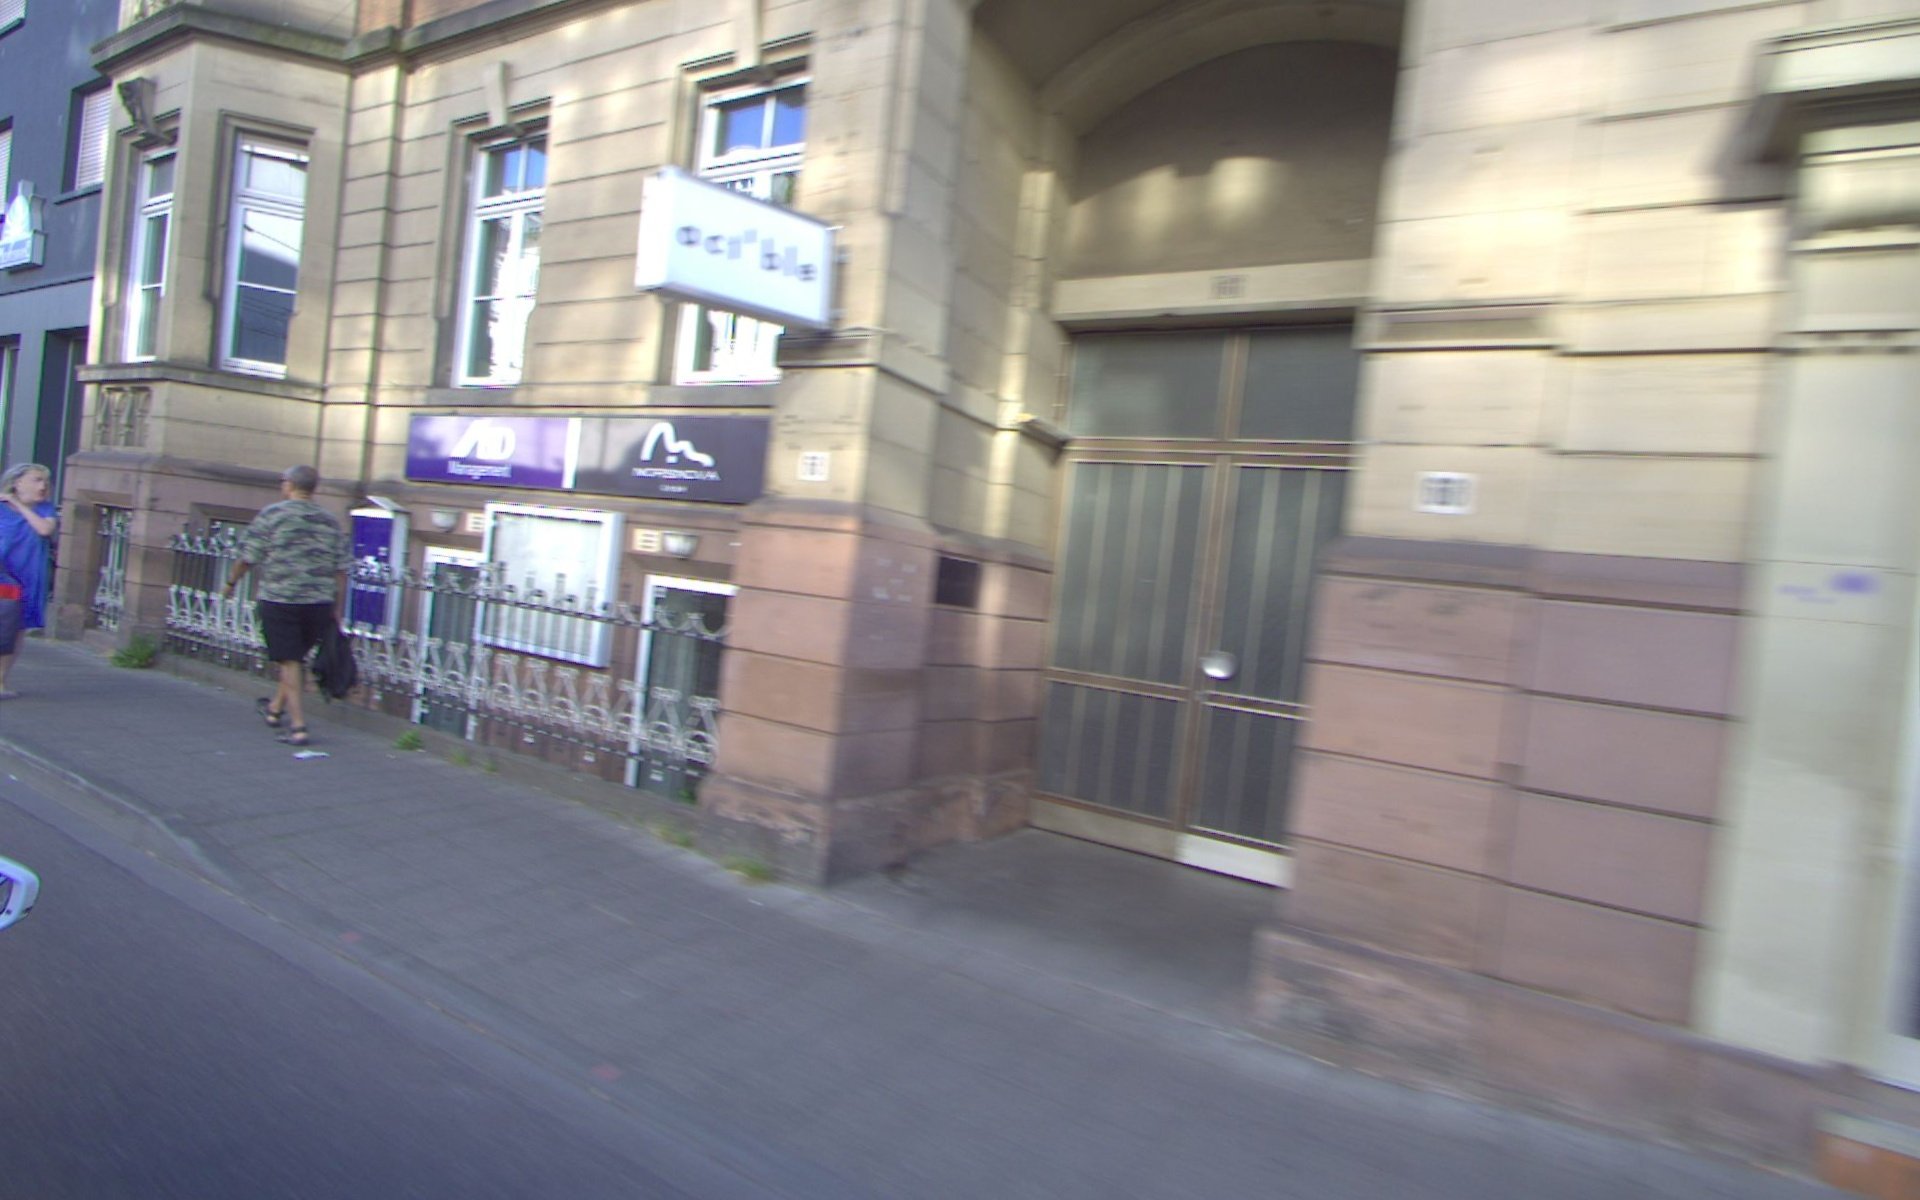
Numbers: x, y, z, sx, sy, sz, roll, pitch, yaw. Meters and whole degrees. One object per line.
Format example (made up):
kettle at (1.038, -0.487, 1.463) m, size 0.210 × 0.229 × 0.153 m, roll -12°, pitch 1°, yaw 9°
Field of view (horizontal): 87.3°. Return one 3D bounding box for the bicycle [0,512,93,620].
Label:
bicycle at (-10.600, -0.409, 11.484) m, size 1.775 × 1.084 × 0.591 m, roll 7°, pitch 2°, yaw 34°

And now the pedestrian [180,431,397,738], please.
pedestrian at (-4.393, -0.101, 6.600) m, size 0.784 × 1.847 × 0.801 m, roll 7°, pitch 1°, yaw 31°

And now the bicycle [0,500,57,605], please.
bicycle at (-12.095, -0.638, 12.575) m, size 1.876 × 1.214 × 0.624 m, roll 6°, pitch 2°, yaw 30°

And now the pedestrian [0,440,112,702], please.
pedestrian at (-6.378, -0.210, 6.726) m, size 0.818 × 1.666 × 0.763 m, roll 7°, pitch 1°, yaw 31°
